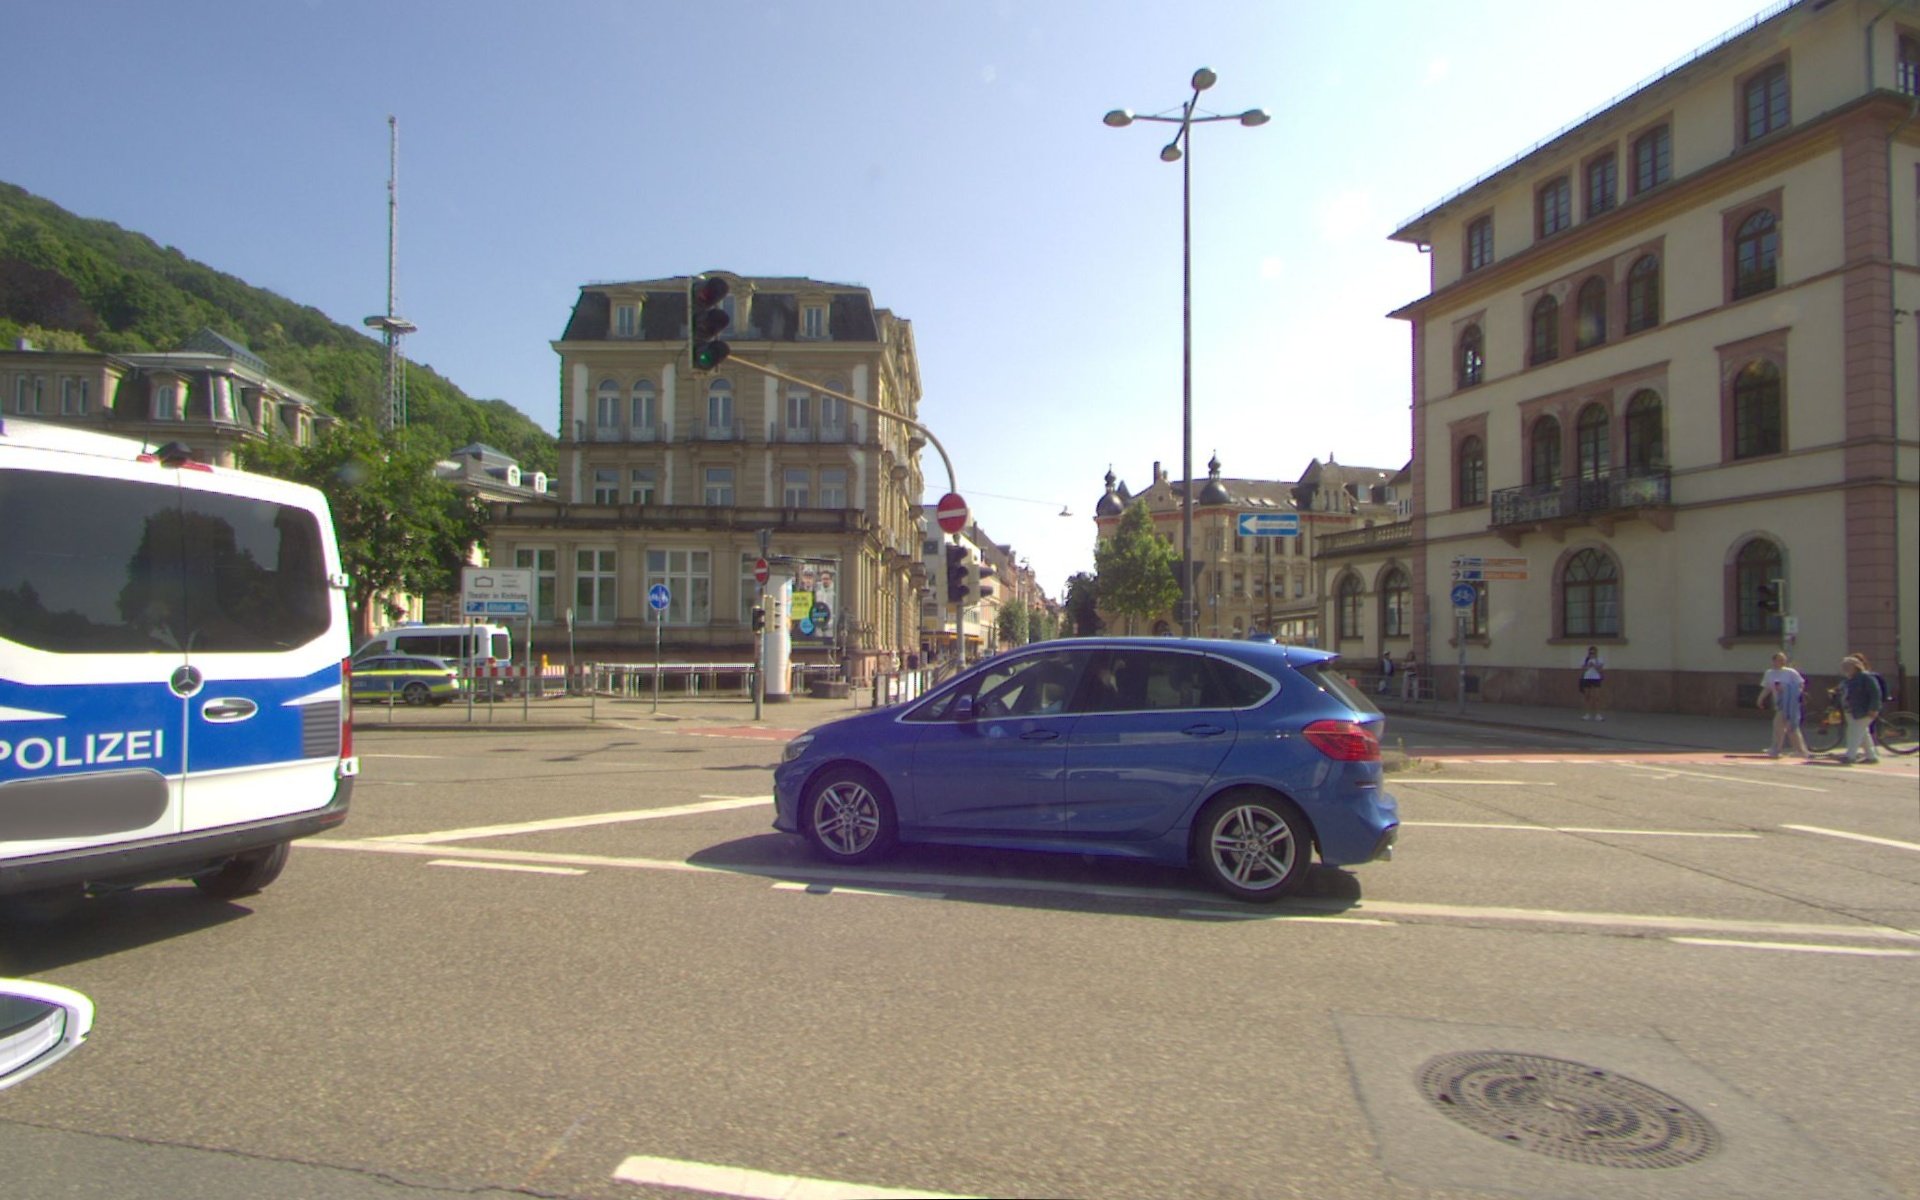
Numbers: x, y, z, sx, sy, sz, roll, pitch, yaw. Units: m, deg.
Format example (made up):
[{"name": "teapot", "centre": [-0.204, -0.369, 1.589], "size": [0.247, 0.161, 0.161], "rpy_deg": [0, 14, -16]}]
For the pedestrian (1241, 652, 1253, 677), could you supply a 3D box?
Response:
[{"name": "pedestrian", "centre": [18.571, 4.180, 64.772], "size": [0.705, 1.624, 0.724], "rpy_deg": [0, -2, 11]}]

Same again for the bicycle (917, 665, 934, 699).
[{"name": "bicycle", "centre": [-1.220, 2.857, 35.234], "size": [0.495, 1.113, 1.821], "rpy_deg": [0, -2, 1]}]

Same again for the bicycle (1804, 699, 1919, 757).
[{"name": "bicycle", "centre": [15.067, 2.101, 16.484], "size": [1.720, 0.865, 0.591], "rpy_deg": [-1, -3, 32]}]

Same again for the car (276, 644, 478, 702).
[{"name": "car", "centre": [-17.177, 2.166, 29.706], "size": [4.787, 1.646, 1.823], "rpy_deg": [1, -3, -8]}]

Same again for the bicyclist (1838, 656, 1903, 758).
[{"name": "bicyclist", "centre": [15.011, 1.747, 16.529], "size": [0.674, 1.626, 0.591], "rpy_deg": [-1, -2, 32]}]

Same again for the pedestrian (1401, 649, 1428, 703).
[{"name": "pedestrian", "centre": [14.333, 2.385, 31.567], "size": [0.569, 1.669, 0.535], "rpy_deg": [1, -2, -7]}]

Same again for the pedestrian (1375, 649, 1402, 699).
[{"name": "pedestrian", "centre": [14.442, 2.484, 33.767], "size": [0.662, 1.669, 0.535], "rpy_deg": [1, -2, -14]}]

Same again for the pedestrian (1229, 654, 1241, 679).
[{"name": "pedestrian", "centre": [18.135, 4.404, 66.043], "size": [0.705, 1.624, 0.724], "rpy_deg": [0, -2, 11]}]

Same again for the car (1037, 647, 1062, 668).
[{"name": "car", "centre": [7.281, 4.704, 81.727], "size": [1.844, 1.627, 3.871], "rpy_deg": [0, -3, 2]}]

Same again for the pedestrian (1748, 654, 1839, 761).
[{"name": "pedestrian", "centre": [13.492, 1.721, 16.236], "size": [0.813, 1.680, 0.754], "rpy_deg": [0, -2, 2]}]

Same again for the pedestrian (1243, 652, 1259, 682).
[{"name": "pedestrian", "centre": [15.856, 3.650, 54.639], "size": [0.705, 1.624, 0.725], "rpy_deg": [0, -2, 6]}]

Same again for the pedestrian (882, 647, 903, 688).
[{"name": "pedestrian", "centre": [-2.904, 2.889, 43.101], "size": [0.805, 1.762, 0.751], "rpy_deg": [0, -2, 1]}]

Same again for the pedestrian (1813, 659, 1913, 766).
[{"name": "pedestrian", "centre": [13.859, 1.705, 15.393], "size": [0.813, 1.591, 0.774], "rpy_deg": [0, -2, 3]}]

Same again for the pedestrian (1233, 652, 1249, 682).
[{"name": "pedestrian", "centre": [15.352, 3.630, 54.688], "size": [0.705, 1.624, 0.725], "rpy_deg": [0, -2, 6]}]

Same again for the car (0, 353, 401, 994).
[{"name": "car", "centre": [-5.803, 0.373, 5.550], "size": [4.844, 2.539, 2.077], "rpy_deg": [-1, -3, 21]}]

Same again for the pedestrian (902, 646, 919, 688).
[{"name": "pedestrian", "centre": [-2.119, 2.880, 43.107], "size": [0.688, 1.773, 0.722], "rpy_deg": [0, -2, 1]}]

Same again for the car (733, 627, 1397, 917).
[{"name": "car", "centre": [0.702, 1.007, 6.983], "size": [4.197, 1.560, 1.722], "rpy_deg": [-1, -4, 21]}]

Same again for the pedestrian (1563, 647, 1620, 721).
[{"name": "pedestrian", "centre": [14.948, 1.978, 23.713], "size": [0.732, 1.716, 0.843], "rpy_deg": [1, -2, -18]}]

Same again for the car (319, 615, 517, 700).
[{"name": "car", "centre": [-17.405, 1.867, 32.409], "size": [5.216, 2.636, 2.001], "rpy_deg": [1, -3, -6]}]
